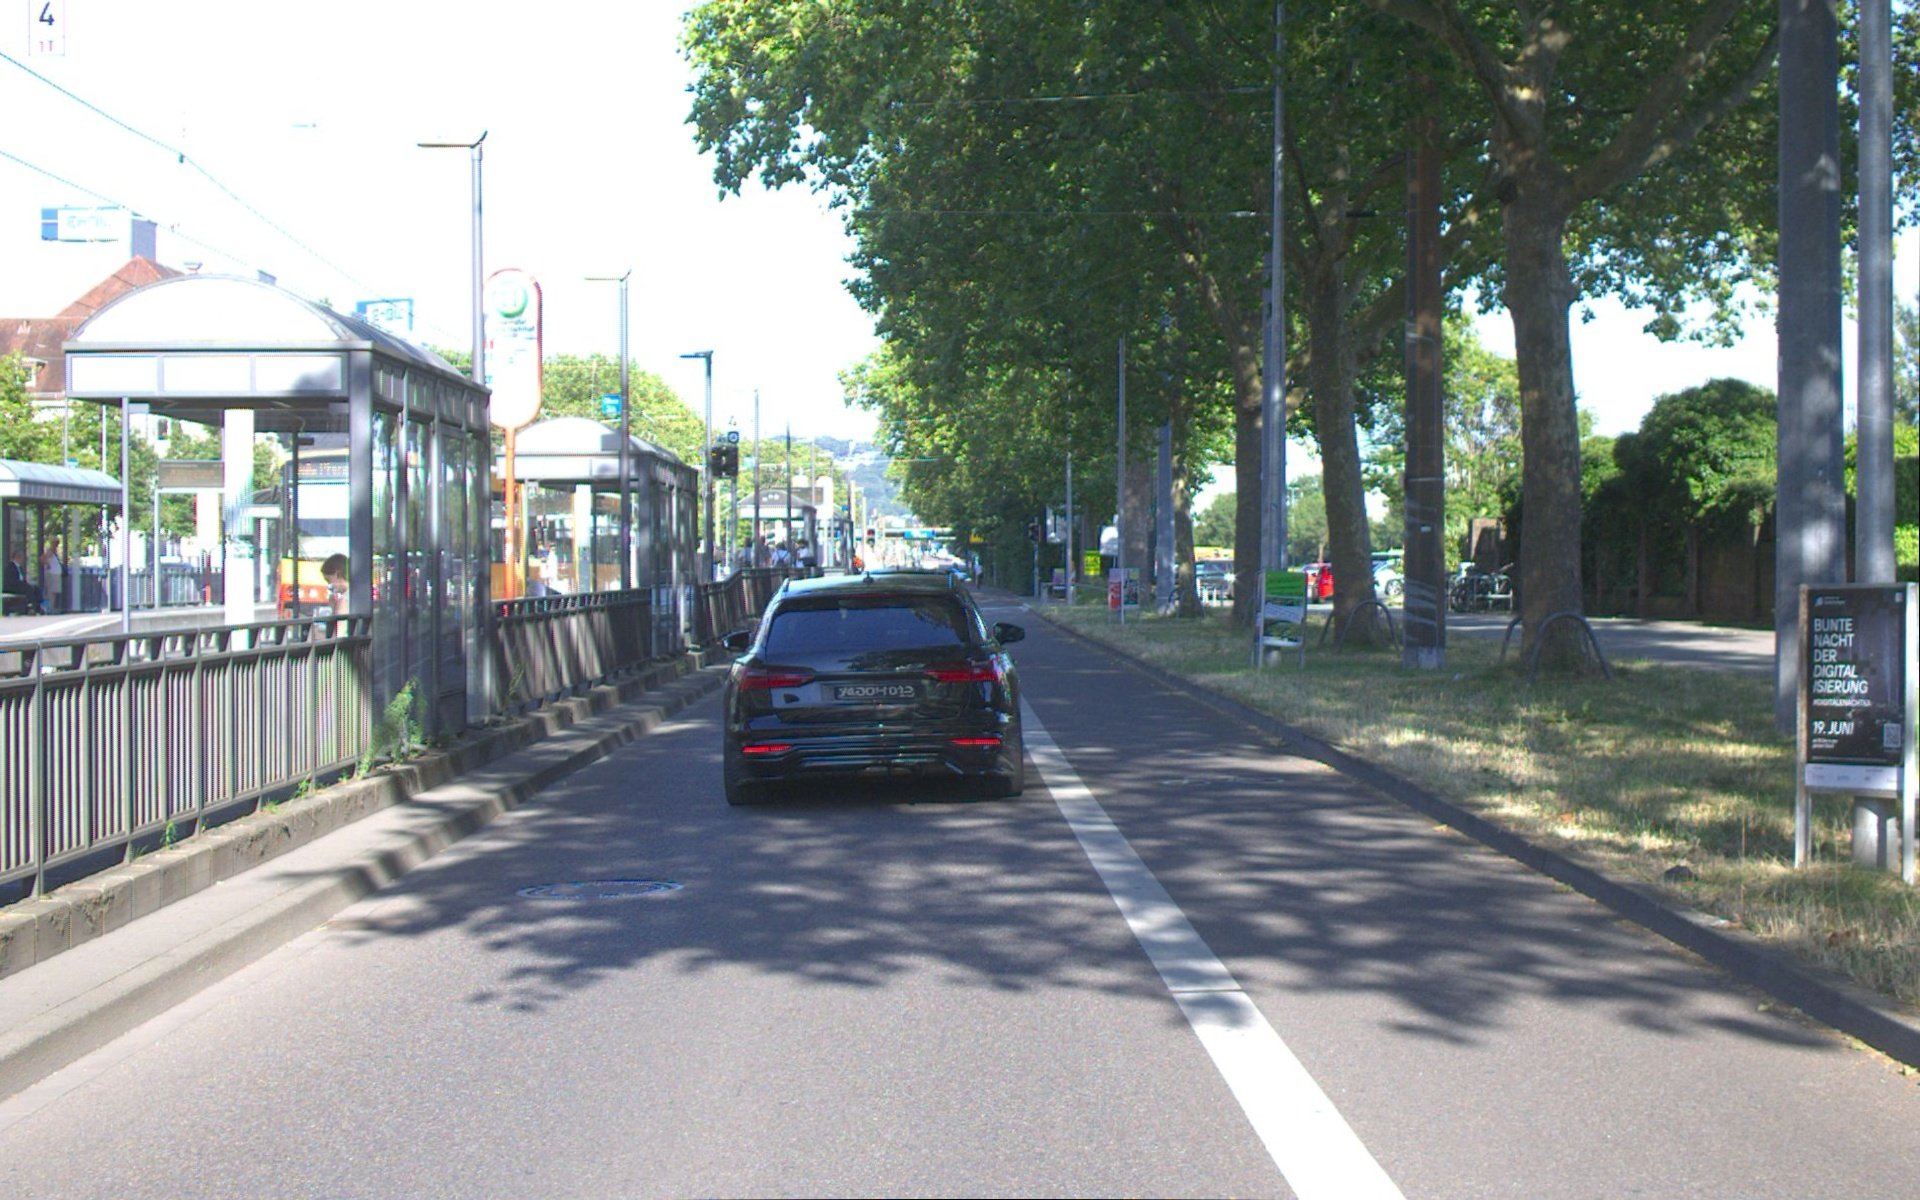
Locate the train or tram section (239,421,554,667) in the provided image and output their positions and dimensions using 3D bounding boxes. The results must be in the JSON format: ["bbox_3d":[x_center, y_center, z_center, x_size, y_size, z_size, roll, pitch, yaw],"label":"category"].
[{"bbox_3d":[-9.617,-0.930,60.649,3.309,3.816,14.219,0,0,0],"label":"train or tram section"}]

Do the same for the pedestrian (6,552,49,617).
[{"bbox_3d":[-18.257,-0.300,67.307,0.614,1.256,0.724,0,0,4],"label":"pedestrian"}]

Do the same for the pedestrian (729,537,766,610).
[{"bbox_3d":[-4.500,-0.557,72.770,0.614,1.543,0.724,0,0,10],"label":"pedestrian"}]

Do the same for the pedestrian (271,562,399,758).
[{"bbox_3d":[-4.111,0.389,22.641,0.742,1.269,0.525,0,0,-1],"label":"pedestrian"}]

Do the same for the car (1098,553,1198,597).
[{"bbox_3d":[7.617,-1.002,139.458,3.987,1.758,1.833,0,0,1],"label":"car"}]

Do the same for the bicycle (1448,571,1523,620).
[{"bbox_3d":[12.427,-0.116,81.292,1.687,1.116,0.439,-1,0,-1],"label":"bicycle"}]

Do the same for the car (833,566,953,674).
[{"bbox_3d":[-1.069,0.278,53.189,1.762,1.614,4.000,0,1,-2],"label":"car"}]

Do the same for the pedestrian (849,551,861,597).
[{"bbox_3d":[-3.899,-0.984,128.066,0.412,1.711,0.666,0,0,0],"label":"pedestrian"}]

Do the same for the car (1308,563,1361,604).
[{"bbox_3d":[14.215,-0.637,130.734,1.614,1.510,3.803,0,0,0],"label":"car"}]

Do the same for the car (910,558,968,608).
[{"bbox_3d":[-0.703,-0.570,112.631,1.762,1.614,4.000,0,1,-2],"label":"car"}]

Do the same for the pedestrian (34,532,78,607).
[{"bbox_3d":[-18.365,-0.626,69.842,0.614,1.522,0.724,0,0,8],"label":"pedestrian"}]

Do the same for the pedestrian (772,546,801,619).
[{"bbox_3d":[-3.959,-0.404,78.470,0.611,1.663,0.613,0,0,2],"label":"pedestrian"}]

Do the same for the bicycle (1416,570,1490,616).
[{"bbox_3d":[12.558,-0.183,87.574,1.773,1.116,0.439,-1,0,-1],"label":"bicycle"}]

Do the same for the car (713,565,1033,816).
[{"bbox_3d":[-0.593,0.523,22.261,1.878,1.452,3.357,-1,1,-2],"label":"car"}]

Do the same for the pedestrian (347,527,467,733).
[{"bbox_3d":[-4.095,0.215,25.499,0.746,1.503,0.666,-1,0,2],"label":"pedestrian"}]

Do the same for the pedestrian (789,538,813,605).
[{"bbox_3d":[-4.212,-0.751,91.005,0.611,1.778,0.613,0,0,0],"label":"pedestrian"}]
